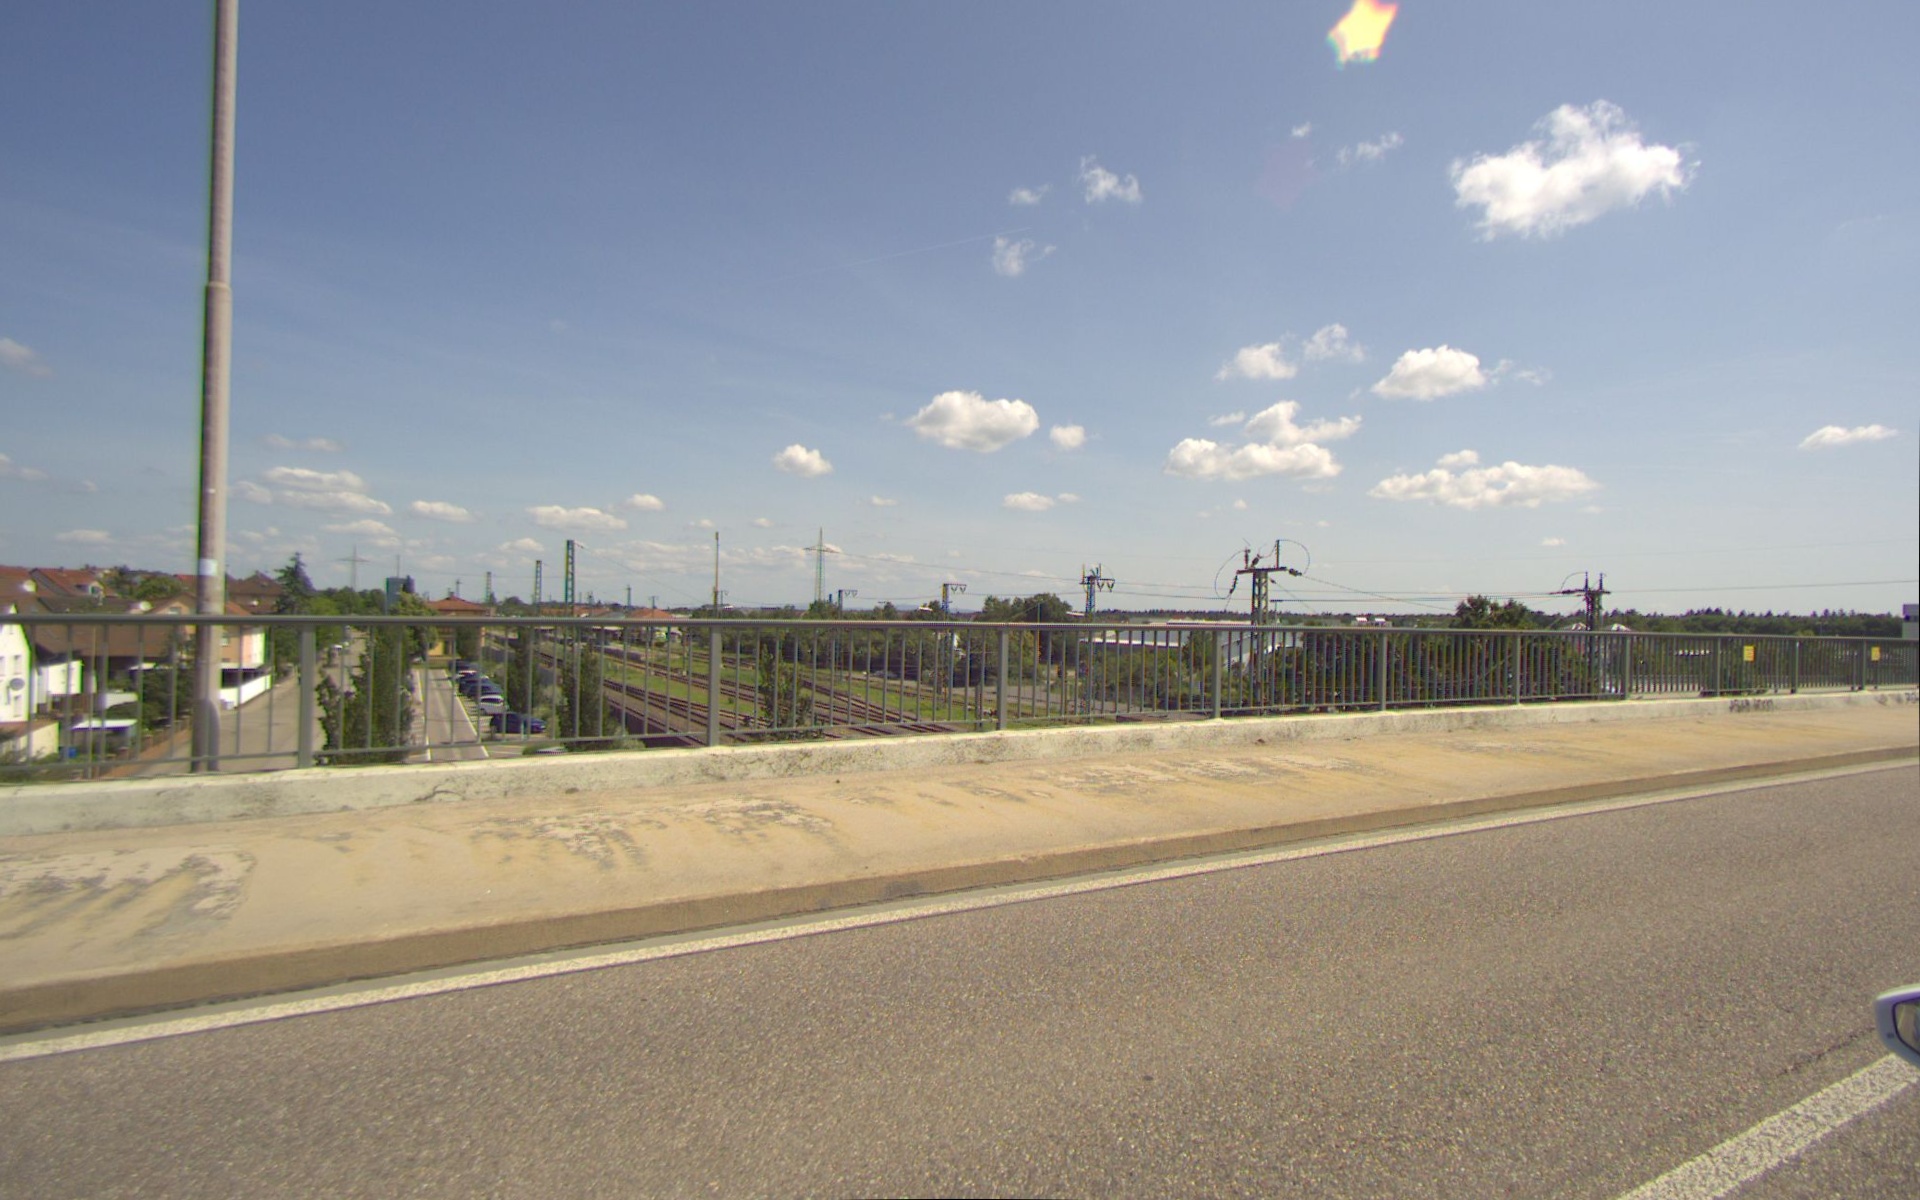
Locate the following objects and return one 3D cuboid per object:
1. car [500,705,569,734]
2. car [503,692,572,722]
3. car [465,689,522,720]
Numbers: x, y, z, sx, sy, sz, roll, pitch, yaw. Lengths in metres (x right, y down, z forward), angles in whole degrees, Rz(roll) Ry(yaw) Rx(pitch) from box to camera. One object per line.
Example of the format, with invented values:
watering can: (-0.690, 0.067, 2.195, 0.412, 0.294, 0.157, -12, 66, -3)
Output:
car: (-33.373, 9.393, 78.887, 4.533, 1.622, 2.206, 4, 3, -8)
car: (-34.692, 8.800, 82.558, 4.769, 2.040, 1.995, 4, 0, -12)
car: (-39.297, 8.771, 84.662, 3.919, 2.041, 2.001, 4, 3, 13)
